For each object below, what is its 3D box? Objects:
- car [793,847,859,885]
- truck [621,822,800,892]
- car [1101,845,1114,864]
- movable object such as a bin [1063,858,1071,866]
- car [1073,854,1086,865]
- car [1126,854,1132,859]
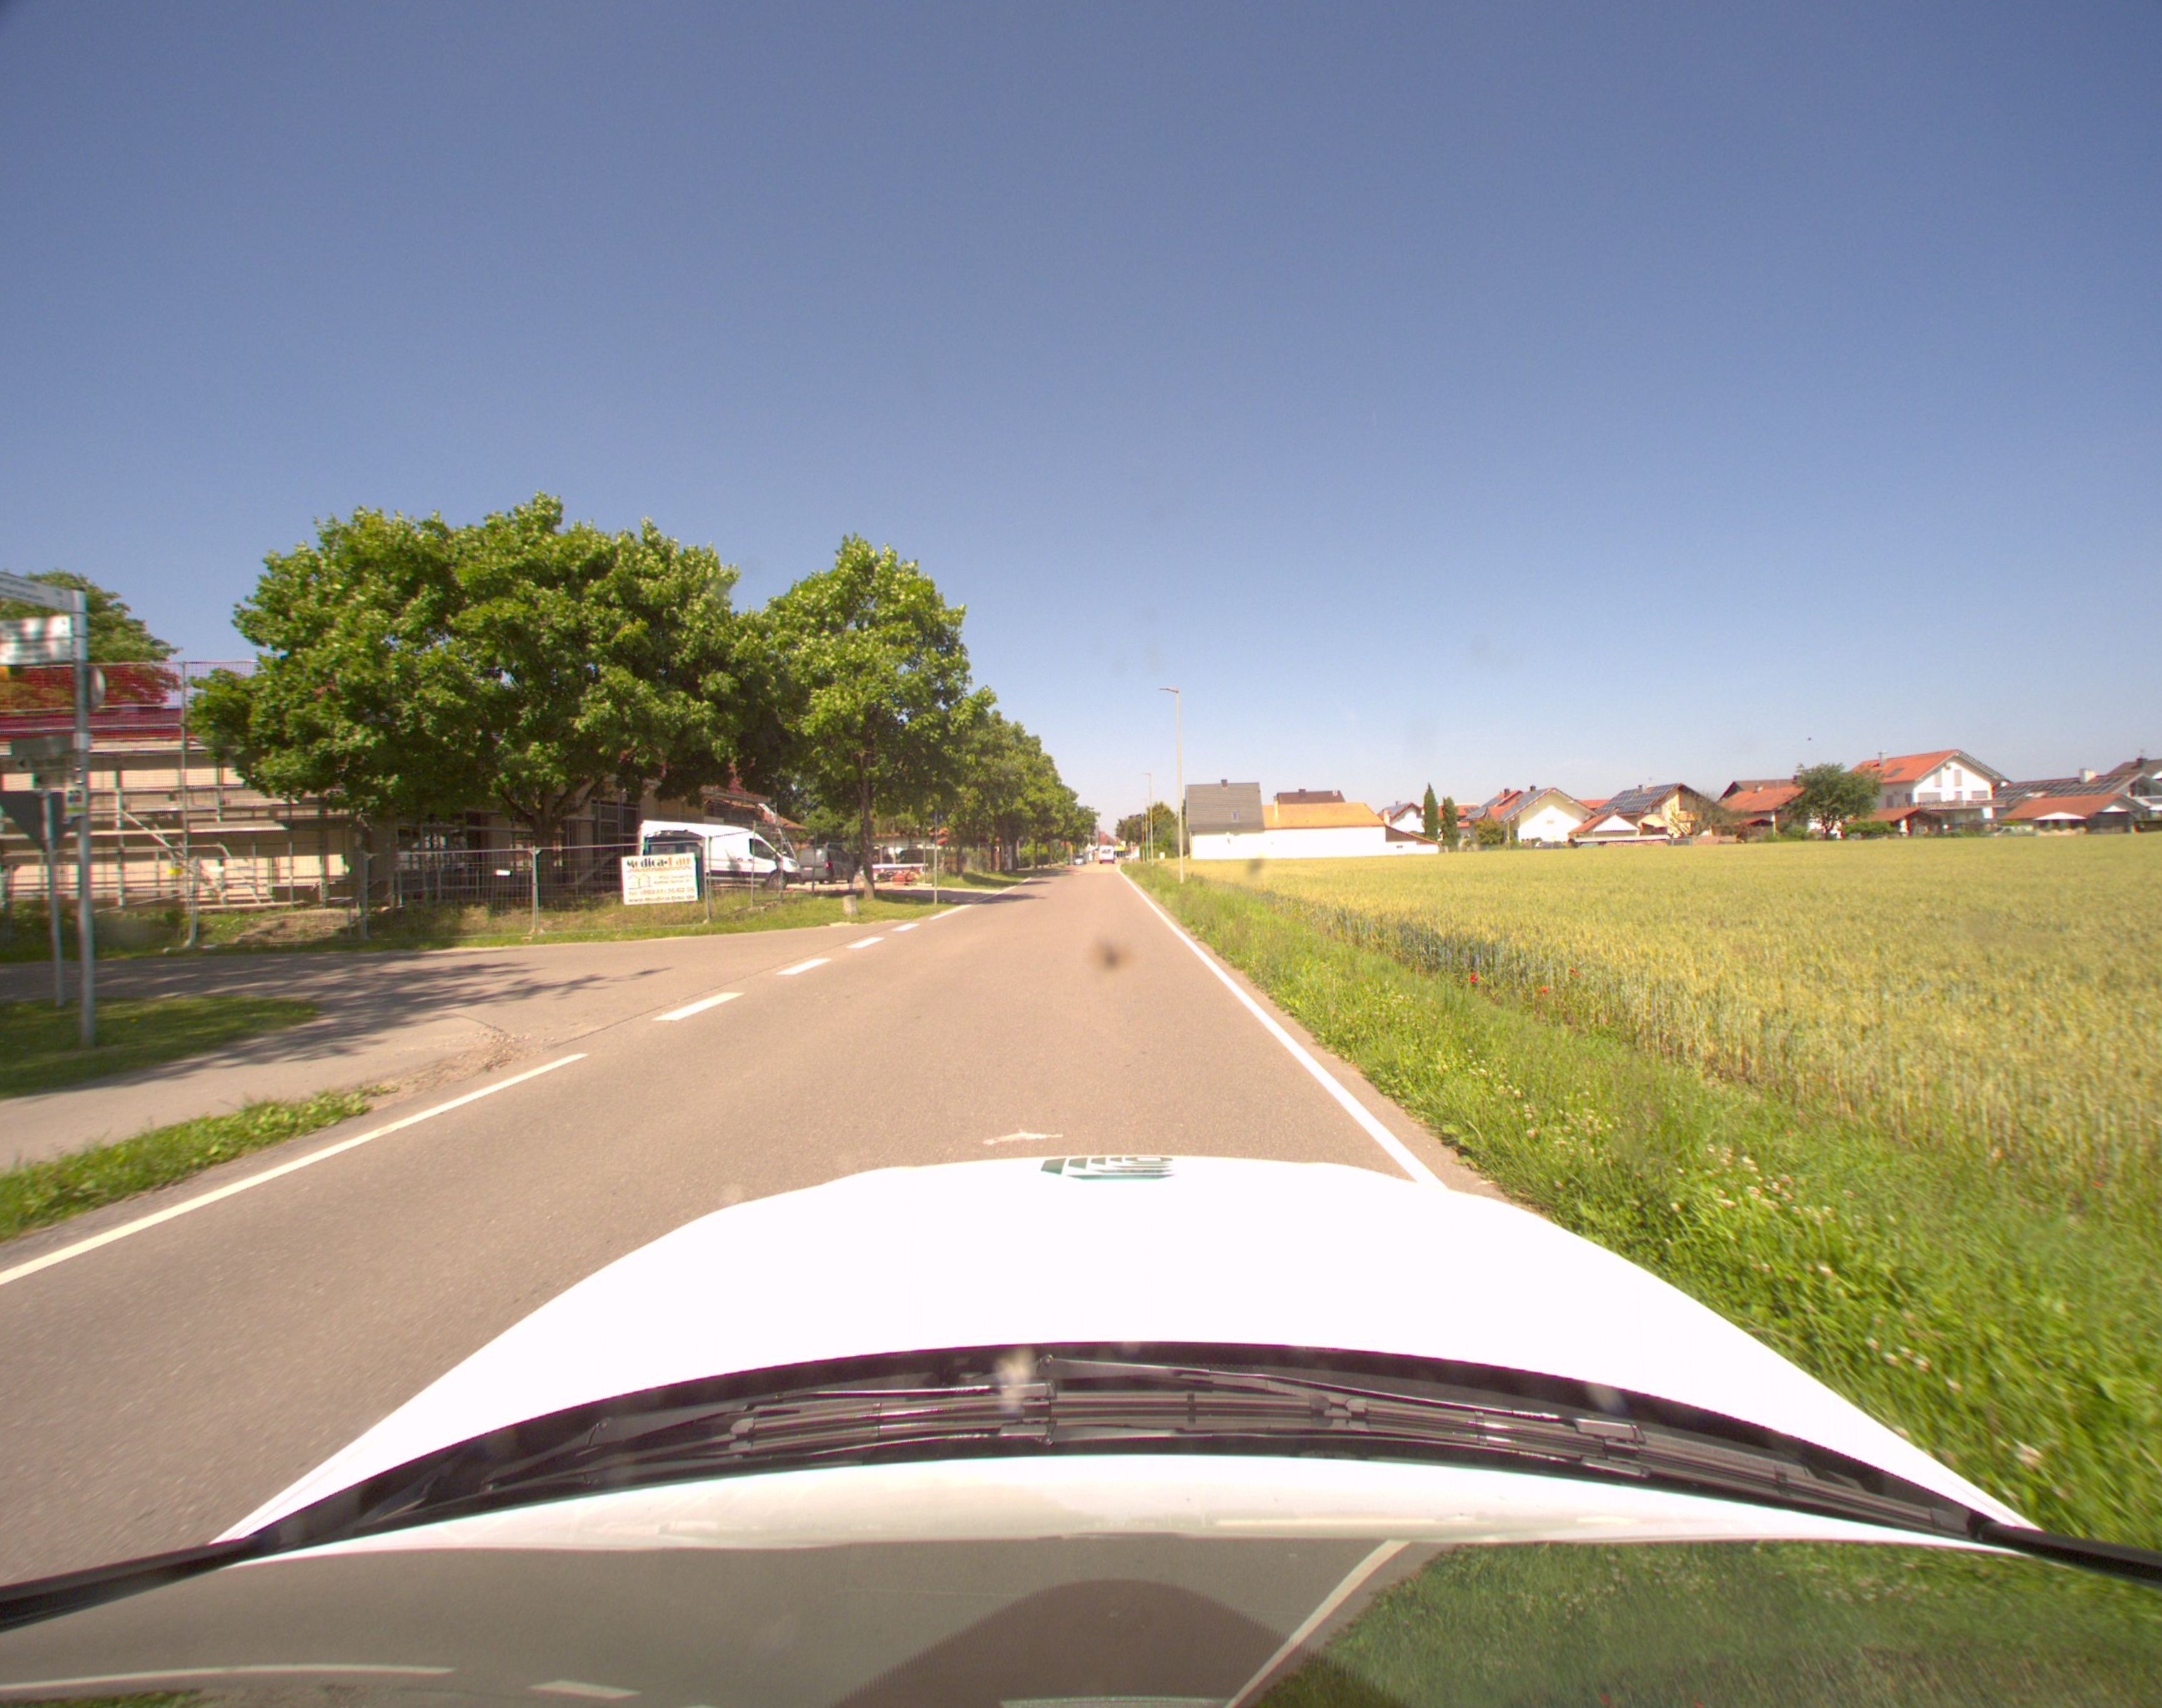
[{"bbox_3d":[-13.261,0.609,42.573,1.963,1.838,4.329,-1,0,1],"label":"car"},{"bbox_3d":[-14.090,0.079,31.186,5.958,2.483,1.978,-1,-1,-36],"label":"truck"},{"bbox_3d":[3.703,0.081,113.159,1.731,2.432,4.377,-2,0,2],"label":"car"},{"bbox_3d":[-1.901,1.086,110.610,0.706,1.079,0.643,-2,-1,28],"label":"movable object such as a bin"},{"bbox_3d":[-0.190,0.827,116.035,1.641,1.423,4.081,-4,0,1],"label":"car"},{"bbox_3d":[14.281,0.664,243.823,1.660,1.524,3.442,-3,0,0],"label":"car"}]
